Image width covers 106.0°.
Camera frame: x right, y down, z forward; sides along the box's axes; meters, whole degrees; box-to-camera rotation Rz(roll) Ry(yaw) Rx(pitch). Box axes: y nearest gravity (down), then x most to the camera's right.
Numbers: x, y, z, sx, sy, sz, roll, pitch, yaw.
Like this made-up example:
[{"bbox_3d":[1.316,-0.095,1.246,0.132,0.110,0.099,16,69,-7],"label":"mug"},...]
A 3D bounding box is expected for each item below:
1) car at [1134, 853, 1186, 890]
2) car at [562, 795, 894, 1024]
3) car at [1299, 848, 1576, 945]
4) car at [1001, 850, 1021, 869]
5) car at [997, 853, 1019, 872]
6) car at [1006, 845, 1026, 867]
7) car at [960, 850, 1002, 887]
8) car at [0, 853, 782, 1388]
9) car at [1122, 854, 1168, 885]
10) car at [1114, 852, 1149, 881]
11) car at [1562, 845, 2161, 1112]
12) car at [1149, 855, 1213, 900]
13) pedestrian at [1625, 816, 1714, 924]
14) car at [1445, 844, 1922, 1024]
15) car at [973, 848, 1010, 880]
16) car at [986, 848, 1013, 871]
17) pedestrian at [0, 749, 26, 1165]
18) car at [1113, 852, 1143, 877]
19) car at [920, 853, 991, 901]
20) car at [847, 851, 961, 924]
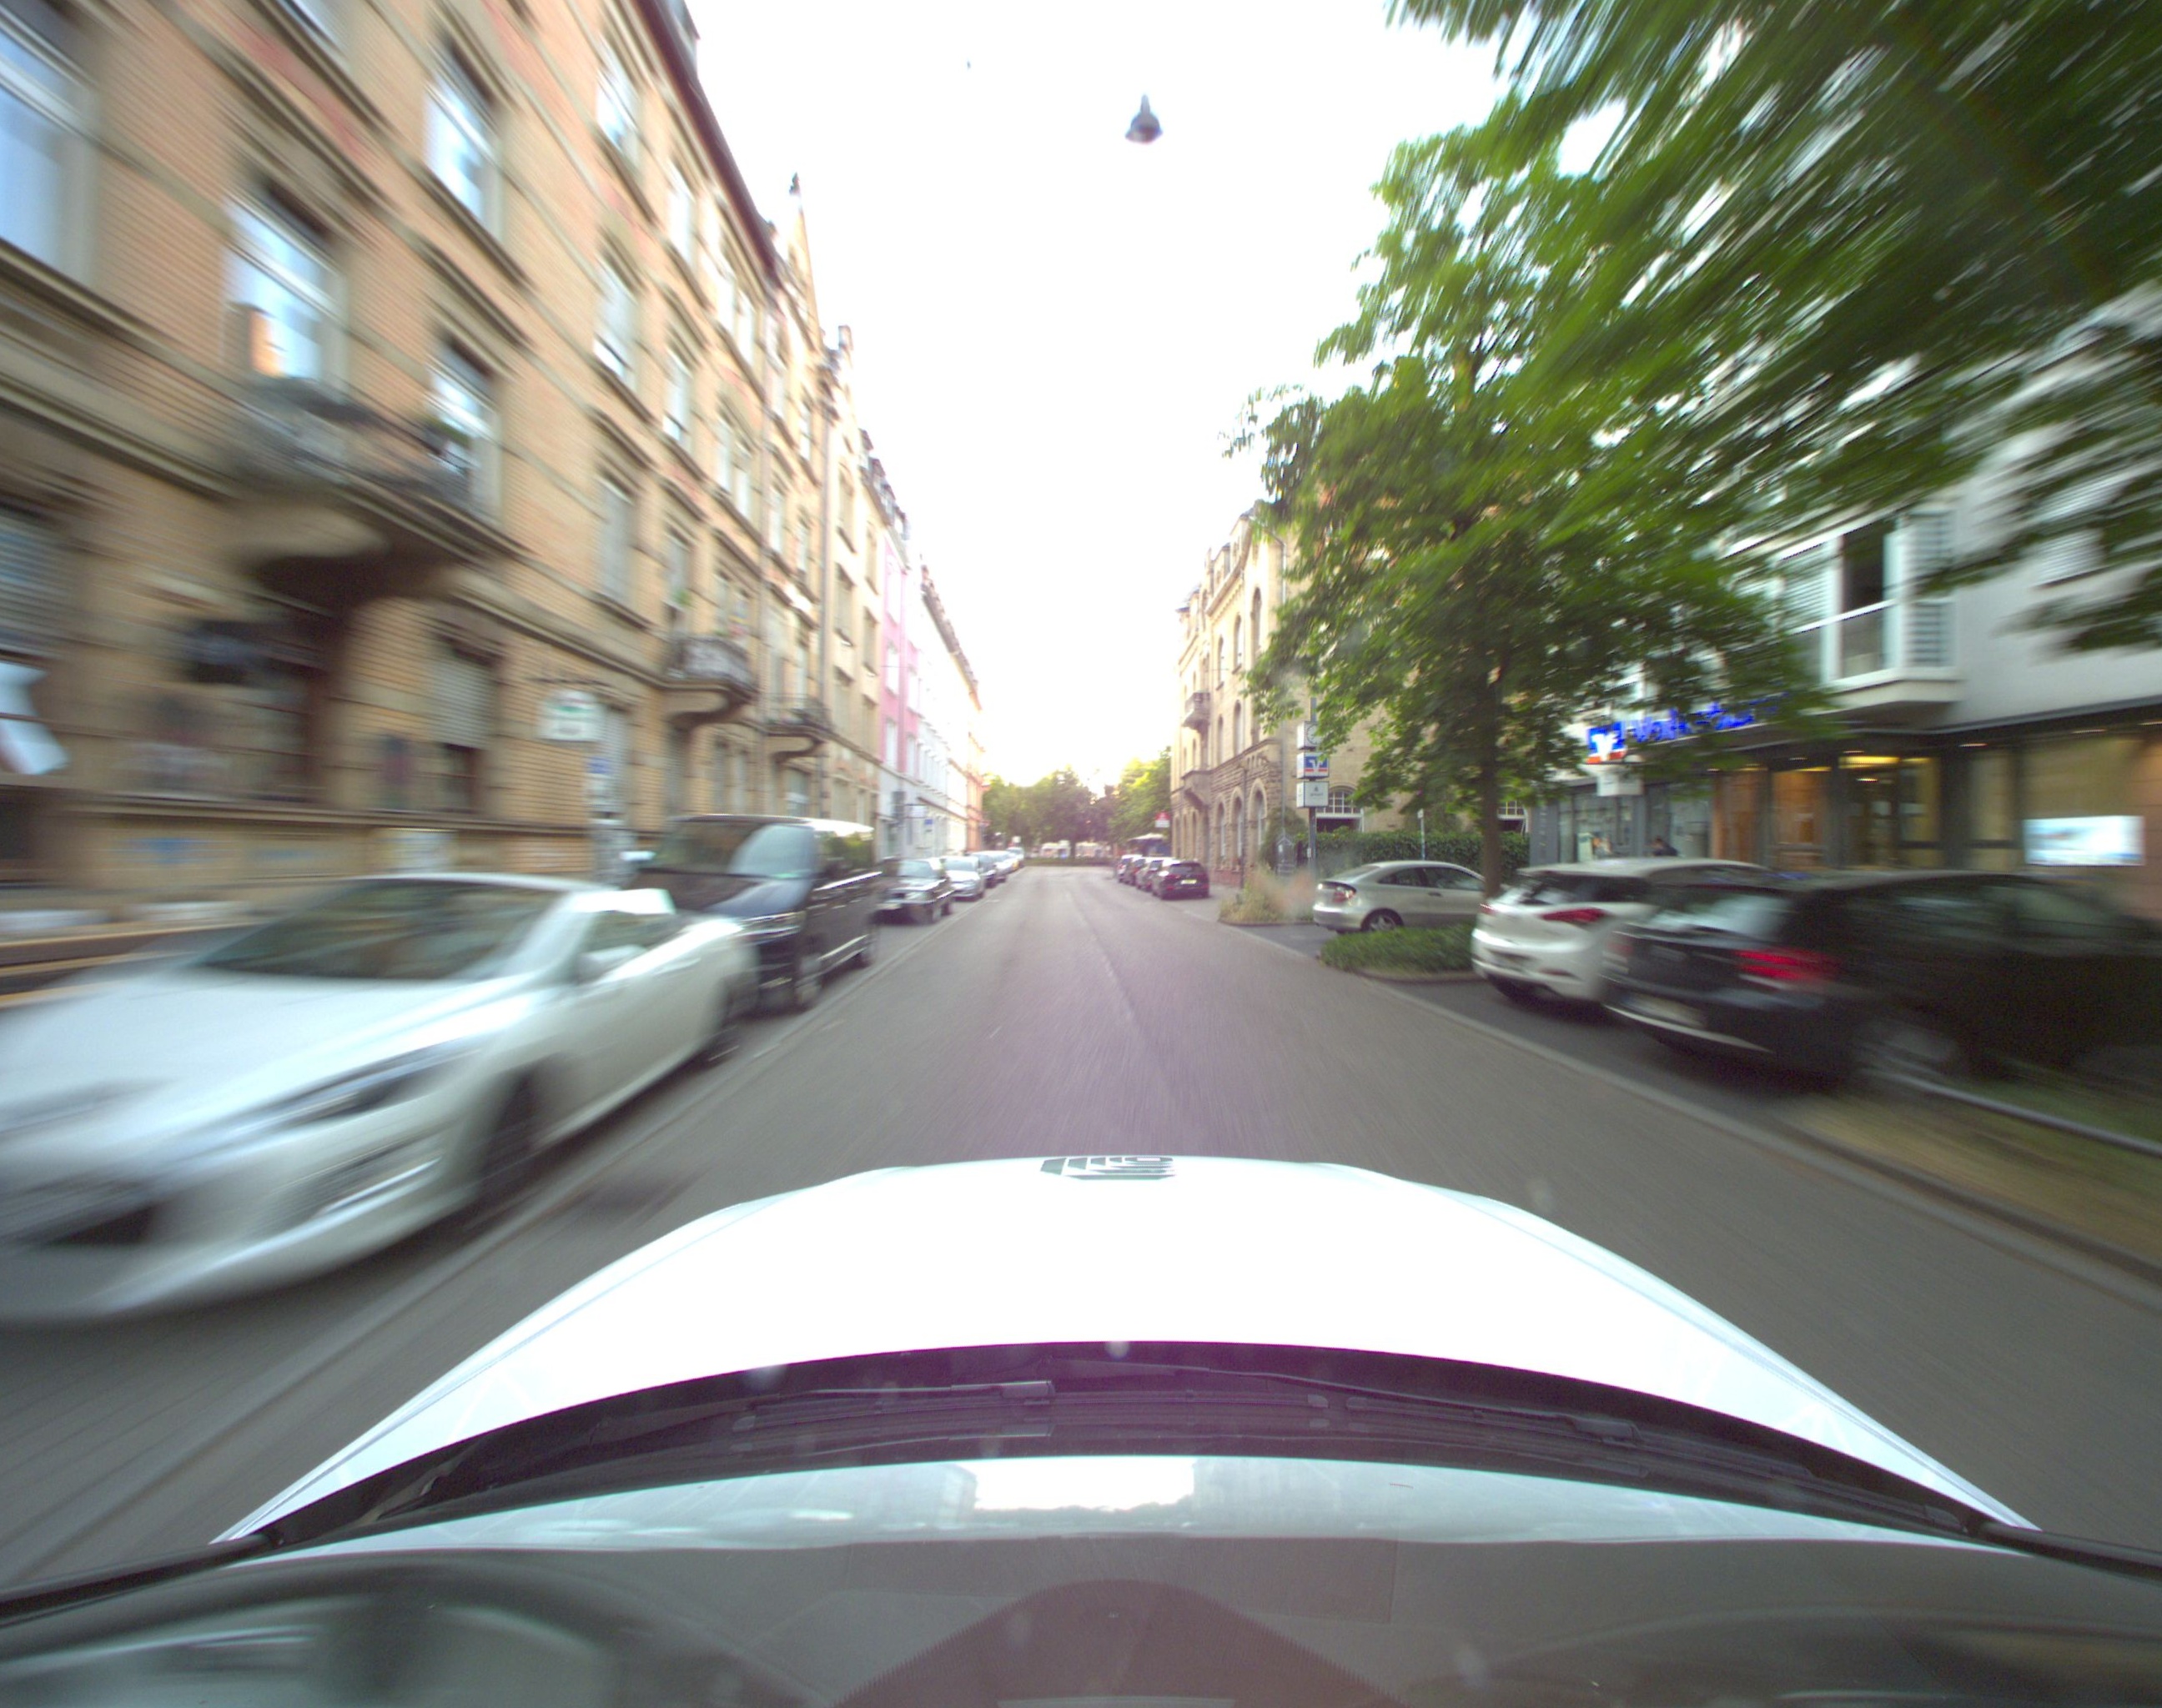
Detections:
[{"bbox_3d":[3.457,0.739,36.307,1.672,1.456,4.225,-3,0,-3],"label":"car"},{"bbox_3d":[-3.617,0.487,9.560,1.990,1.924,4.943,2,0,-5],"label":"car"},{"bbox_3d":[6.173,0.690,14.440,4.073,1.452,1.882,-2,0,0],"label":"car"},{"bbox_3d":[-6.160,0.486,72.074,1.695,1.552,4.015,2,0,-5],"label":"car"},{"bbox_3d":[-5.898,0.636,66.154,1.695,1.426,4.015,2,0,-5],"label":"car"},{"bbox_3d":[-6.445,0.178,80.212,1.808,1.977,4.177,2,0,-6],"label":"car"},{"bbox_3d":[-4.591,0.638,37.766,1.632,1.565,3.777,1,0,-3],"label":"car"},{"bbox_3d":[-3.259,0.747,4.472,1.780,1.423,4.479,3,0,-4],"label":"car"},{"bbox_3d":[3.231,0.753,42.008,1.674,1.456,3.793,-3,0,-6],"label":"car"},{"bbox_3d":[2.861,0.704,47.021,1.671,1.501,3.899,-3,0,-1],"label":"car"},{"bbox_3d":[5.900,0.708,5.769,3.980,1.456,1.825,-1,0,-5],"label":"car"},{"bbox_3d":[3.649,0.806,30.415,1.671,1.429,4.475,-3,0,-1],"label":"car"},{"bbox_3d":[9.789,0.266,13.579,0.725,1.716,0.962,-2,-1,-2],"label":"pedestrian"},{"bbox_3d":[6.006,0.702,8.354,3.790,1.452,1.731,-2,0,-8],"label":"car"},{"bbox_3d":[-4.796,0.534,44.057,1.842,1.659,4.245,0,0,-5],"label":"car"},{"bbox_3d":[-5.930,0.392,59.893,1.694,1.621,4.018,2,0,-3],"label":"car"},{"bbox_3d":[-4.832,0.435,3.073,0.604,1.772,0.775,3,0,-6],"label":"pedestrian"},{"bbox_3d":[3.010,0.656,52.896,1.671,1.501,4.016,-3,0,-1],"label":"car"},{"bbox_3d":[-4.240,0.737,28.145,1.829,1.458,4.203,3,0,-2],"label":"car"},{"bbox_3d":[-3.922,0.699,18.854,1.732,1.418,4.773,2,-1,-3],"label":"car"}]
